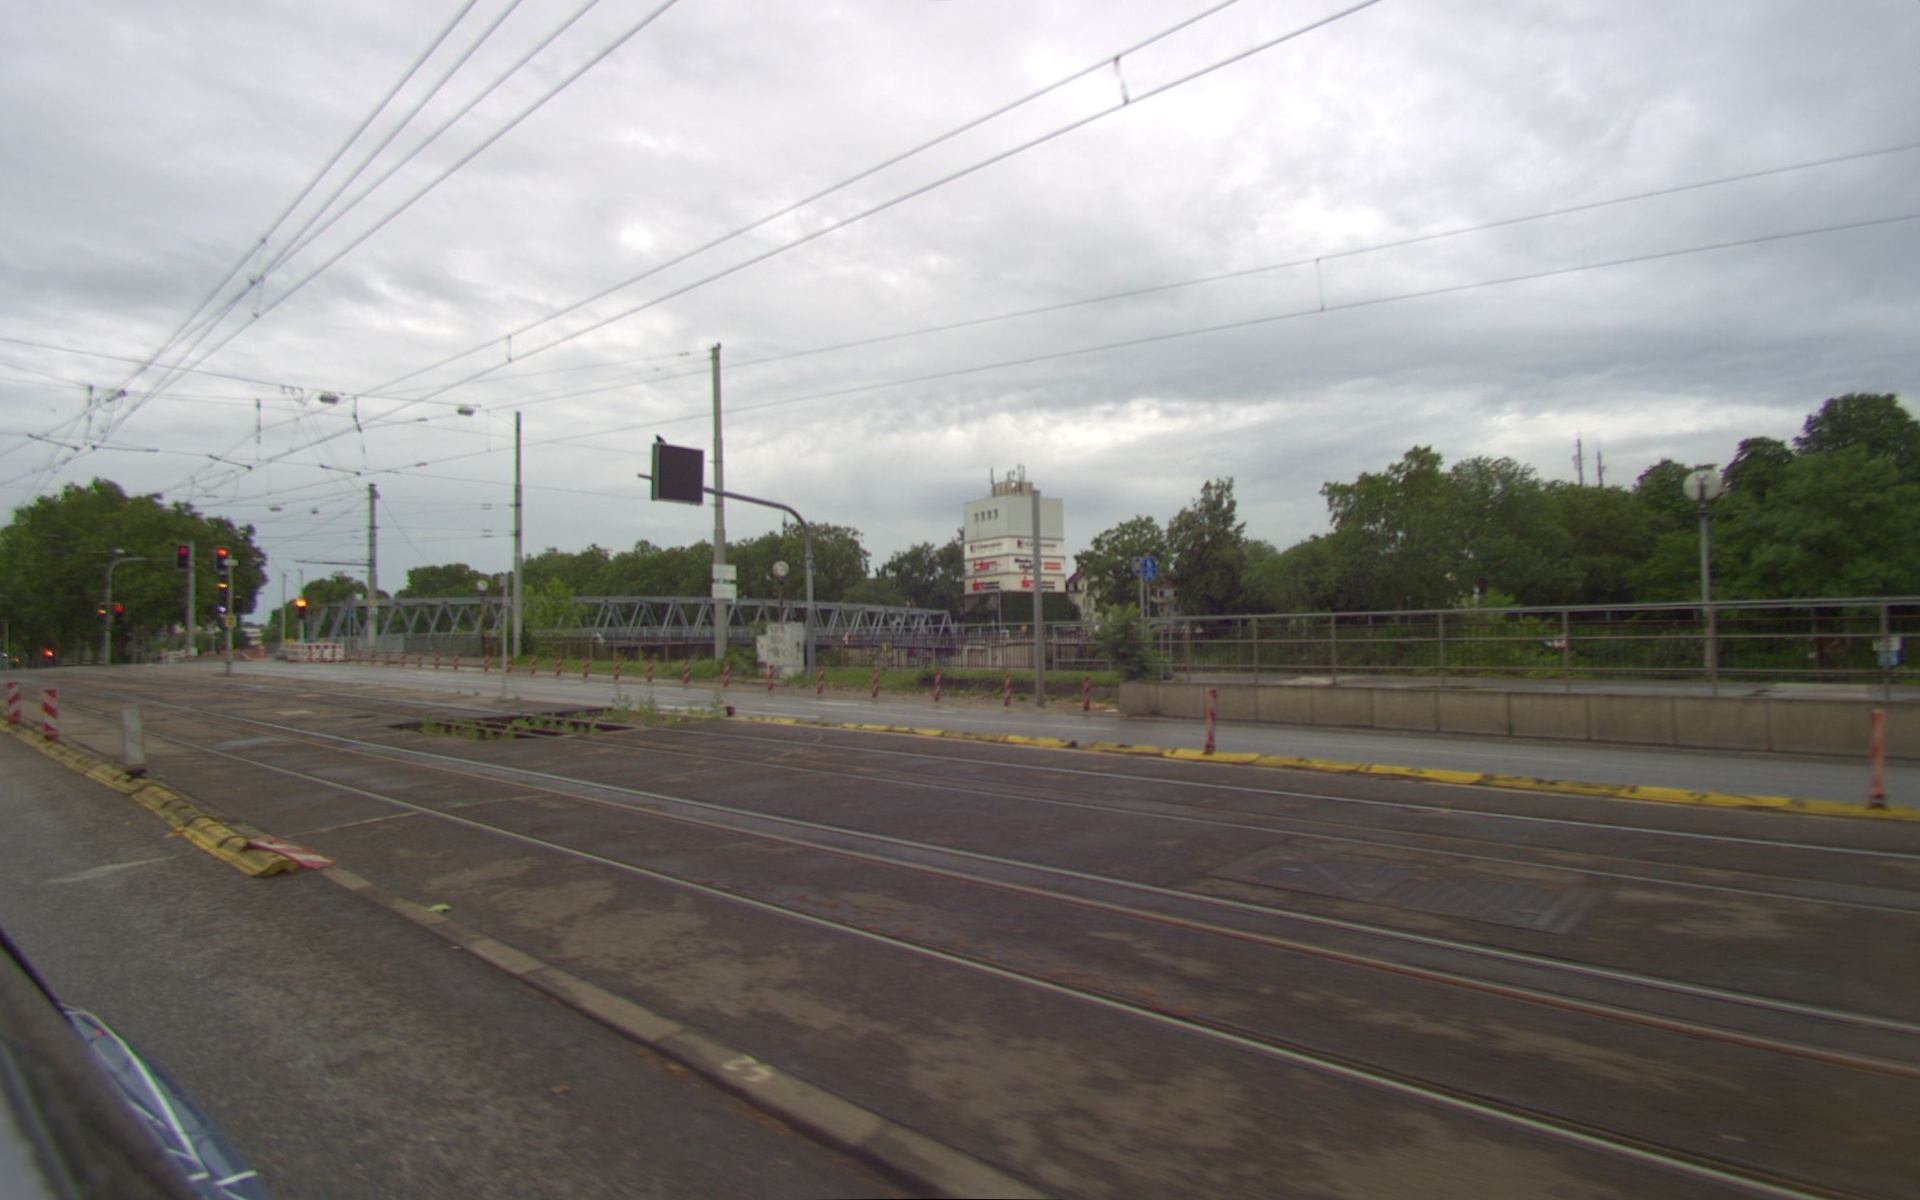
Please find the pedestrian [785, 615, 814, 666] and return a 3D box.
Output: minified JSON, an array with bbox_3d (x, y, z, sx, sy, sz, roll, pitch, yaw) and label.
[{"bbox_3d":[-5.488,1.392,34.610,0.618,1.701,0.756,-3,-3,41],"label":"pedestrian"}]
